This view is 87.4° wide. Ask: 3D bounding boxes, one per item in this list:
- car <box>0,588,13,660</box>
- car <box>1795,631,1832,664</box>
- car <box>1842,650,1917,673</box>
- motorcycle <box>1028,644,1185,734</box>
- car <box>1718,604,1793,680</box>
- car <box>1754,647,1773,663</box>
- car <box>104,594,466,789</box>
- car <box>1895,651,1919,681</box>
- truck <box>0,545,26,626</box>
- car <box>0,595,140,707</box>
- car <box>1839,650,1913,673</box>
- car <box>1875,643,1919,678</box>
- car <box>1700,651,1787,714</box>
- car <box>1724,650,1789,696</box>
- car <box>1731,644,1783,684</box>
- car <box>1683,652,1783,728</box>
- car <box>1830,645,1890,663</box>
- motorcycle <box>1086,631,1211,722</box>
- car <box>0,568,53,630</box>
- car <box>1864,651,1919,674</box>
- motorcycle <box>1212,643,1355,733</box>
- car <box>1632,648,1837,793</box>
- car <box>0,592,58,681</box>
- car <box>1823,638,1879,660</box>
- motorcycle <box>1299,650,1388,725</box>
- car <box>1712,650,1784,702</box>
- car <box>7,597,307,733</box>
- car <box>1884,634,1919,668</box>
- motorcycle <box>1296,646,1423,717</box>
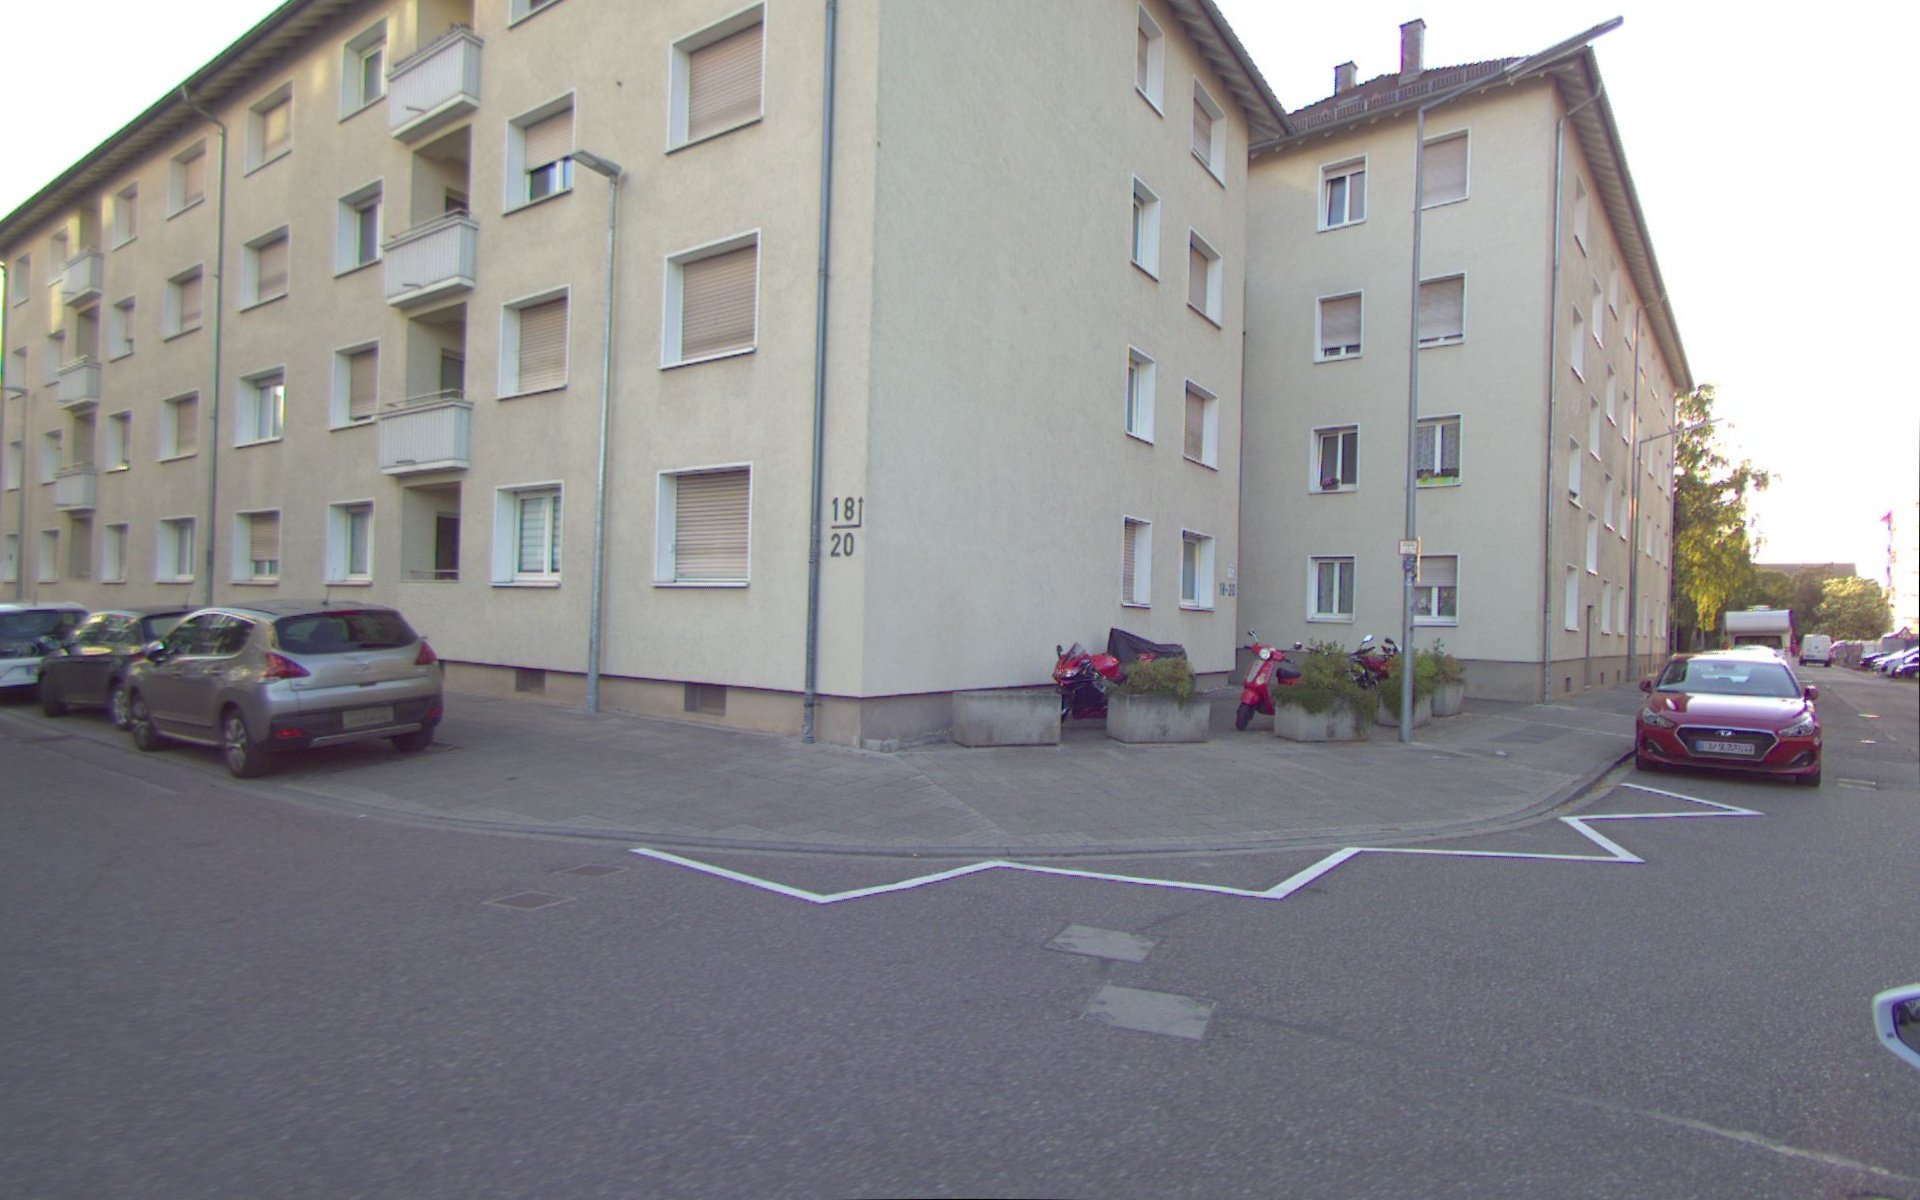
[{"bbox_3d":[-22.173,0.506,21.562,3.882,1.504,1.874,1,3,35],"label":"car"},{"bbox_3d":[73.548,4.094,86.610,2.102,2.753,4.815,-1,-3,37],"label":"car"},{"bbox_3d":[67.301,4.505,73.616,3.939,1.550,1.652,-1,-3,39],"label":"car"},{"bbox_3d":[1.969,1.163,13.368,2.057,1.093,0.720,3,-1,-30],"label":"motorcycle"},{"bbox_3d":[37.927,2.010,47.851,2.589,3.311,7.663,-1,-3,39],"label":"car"},{"bbox_3d":[96.137,6.594,120.225,1.632,1.854,3.861,-1,-3,37],"label":"car"},{"bbox_3d":[-7.294,0.799,10.768,3.953,1.640,1.874,1,3,35],"label":"car"},{"bbox_3d":[51.609,3.488,52.420,3.939,1.550,1.652,-1,-3,39],"label":"car"},{"bbox_3d":[-35.161,-0.427,33.119,2.299,2.759,5.981,1,3,34],"label":"truck"},{"bbox_3d":[-14.803,0.719,15.825,3.882,1.504,1.874,1,3,35],"label":"car"},{"bbox_3d":[68.483,4.581,75.180,3.939,1.550,1.652,-1,-3,39],"label":"car"},{"bbox_3d":[56.062,3.519,57.889,4.755,1.993,1.731,-1,-2,39],"label":"car"},{"bbox_3d":[20.050,2.045,25.787,1.638,1.453,4.016,-1,-3,37],"label":"car"},{"bbox_3d":[27.236,2.472,34.433,1.632,1.453,3.861,-1,-3,37],"label":"car"},{"bbox_3d":[33.431,2.660,42.141,1.633,1.561,3.859,-1,-3,39],"label":"car"},{"bbox_3d":[16.728,1.878,21.781,1.595,1.492,3.491,-1,-3,37],"label":"car"},{"bbox_3d":[81.565,4.916,91.134,3.939,1.550,1.652,-1,-3,39],"label":"car"},{"bbox_3d":[2.908,1.143,15.345,2.064,1.281,0.717,3,-1,-41],"label":"motorcycle"},{"bbox_3d":[-31.690,0.015,31.039,2.299,1.939,4.985,1,3,34],"label":"car"},{"bbox_3d":[66.618,4.403,70.949,3.939,1.550,1.652,-1,-3,39],"label":"car"},{"bbox_3d":[4.589,1.236,14.204,2.008,1.176,0.686,3,-1,-27],"label":"motorcycle"},{"bbox_3d":[9.935,1.408,12.987,1.822,1.492,4.063,1,-2,37],"label":"car"},{"bbox_3d":[-18.469,0.641,18.503,3.882,1.504,1.874,1,3,35],"label":"car"},{"bbox_3d":[103.470,5.667,116.737,4.755,2.439,1.731,-1,-2,39],"label":"car"},{"bbox_3d":[6.115,1.356,15.960,0.674,1.093,2.025,1,-1,40],"label":"motorcycle"},{"bbox_3d":[23.962,2.279,30.620,1.632,1.453,3.781,-1,-3,37],"label":"car"},{"bbox_3d":[-10.990,0.770,13.716,3.948,1.521,1.876,1,3,30],"label":"car"},{"bbox_3d":[60.233,3.203,62.351,3.935,2.040,1.993,1,-2,36],"label":"car"},{"bbox_3d":[7.120,1.425,18.014,0.555,1.120,2.106,3,-1,-39],"label":"motorcycle"}]
